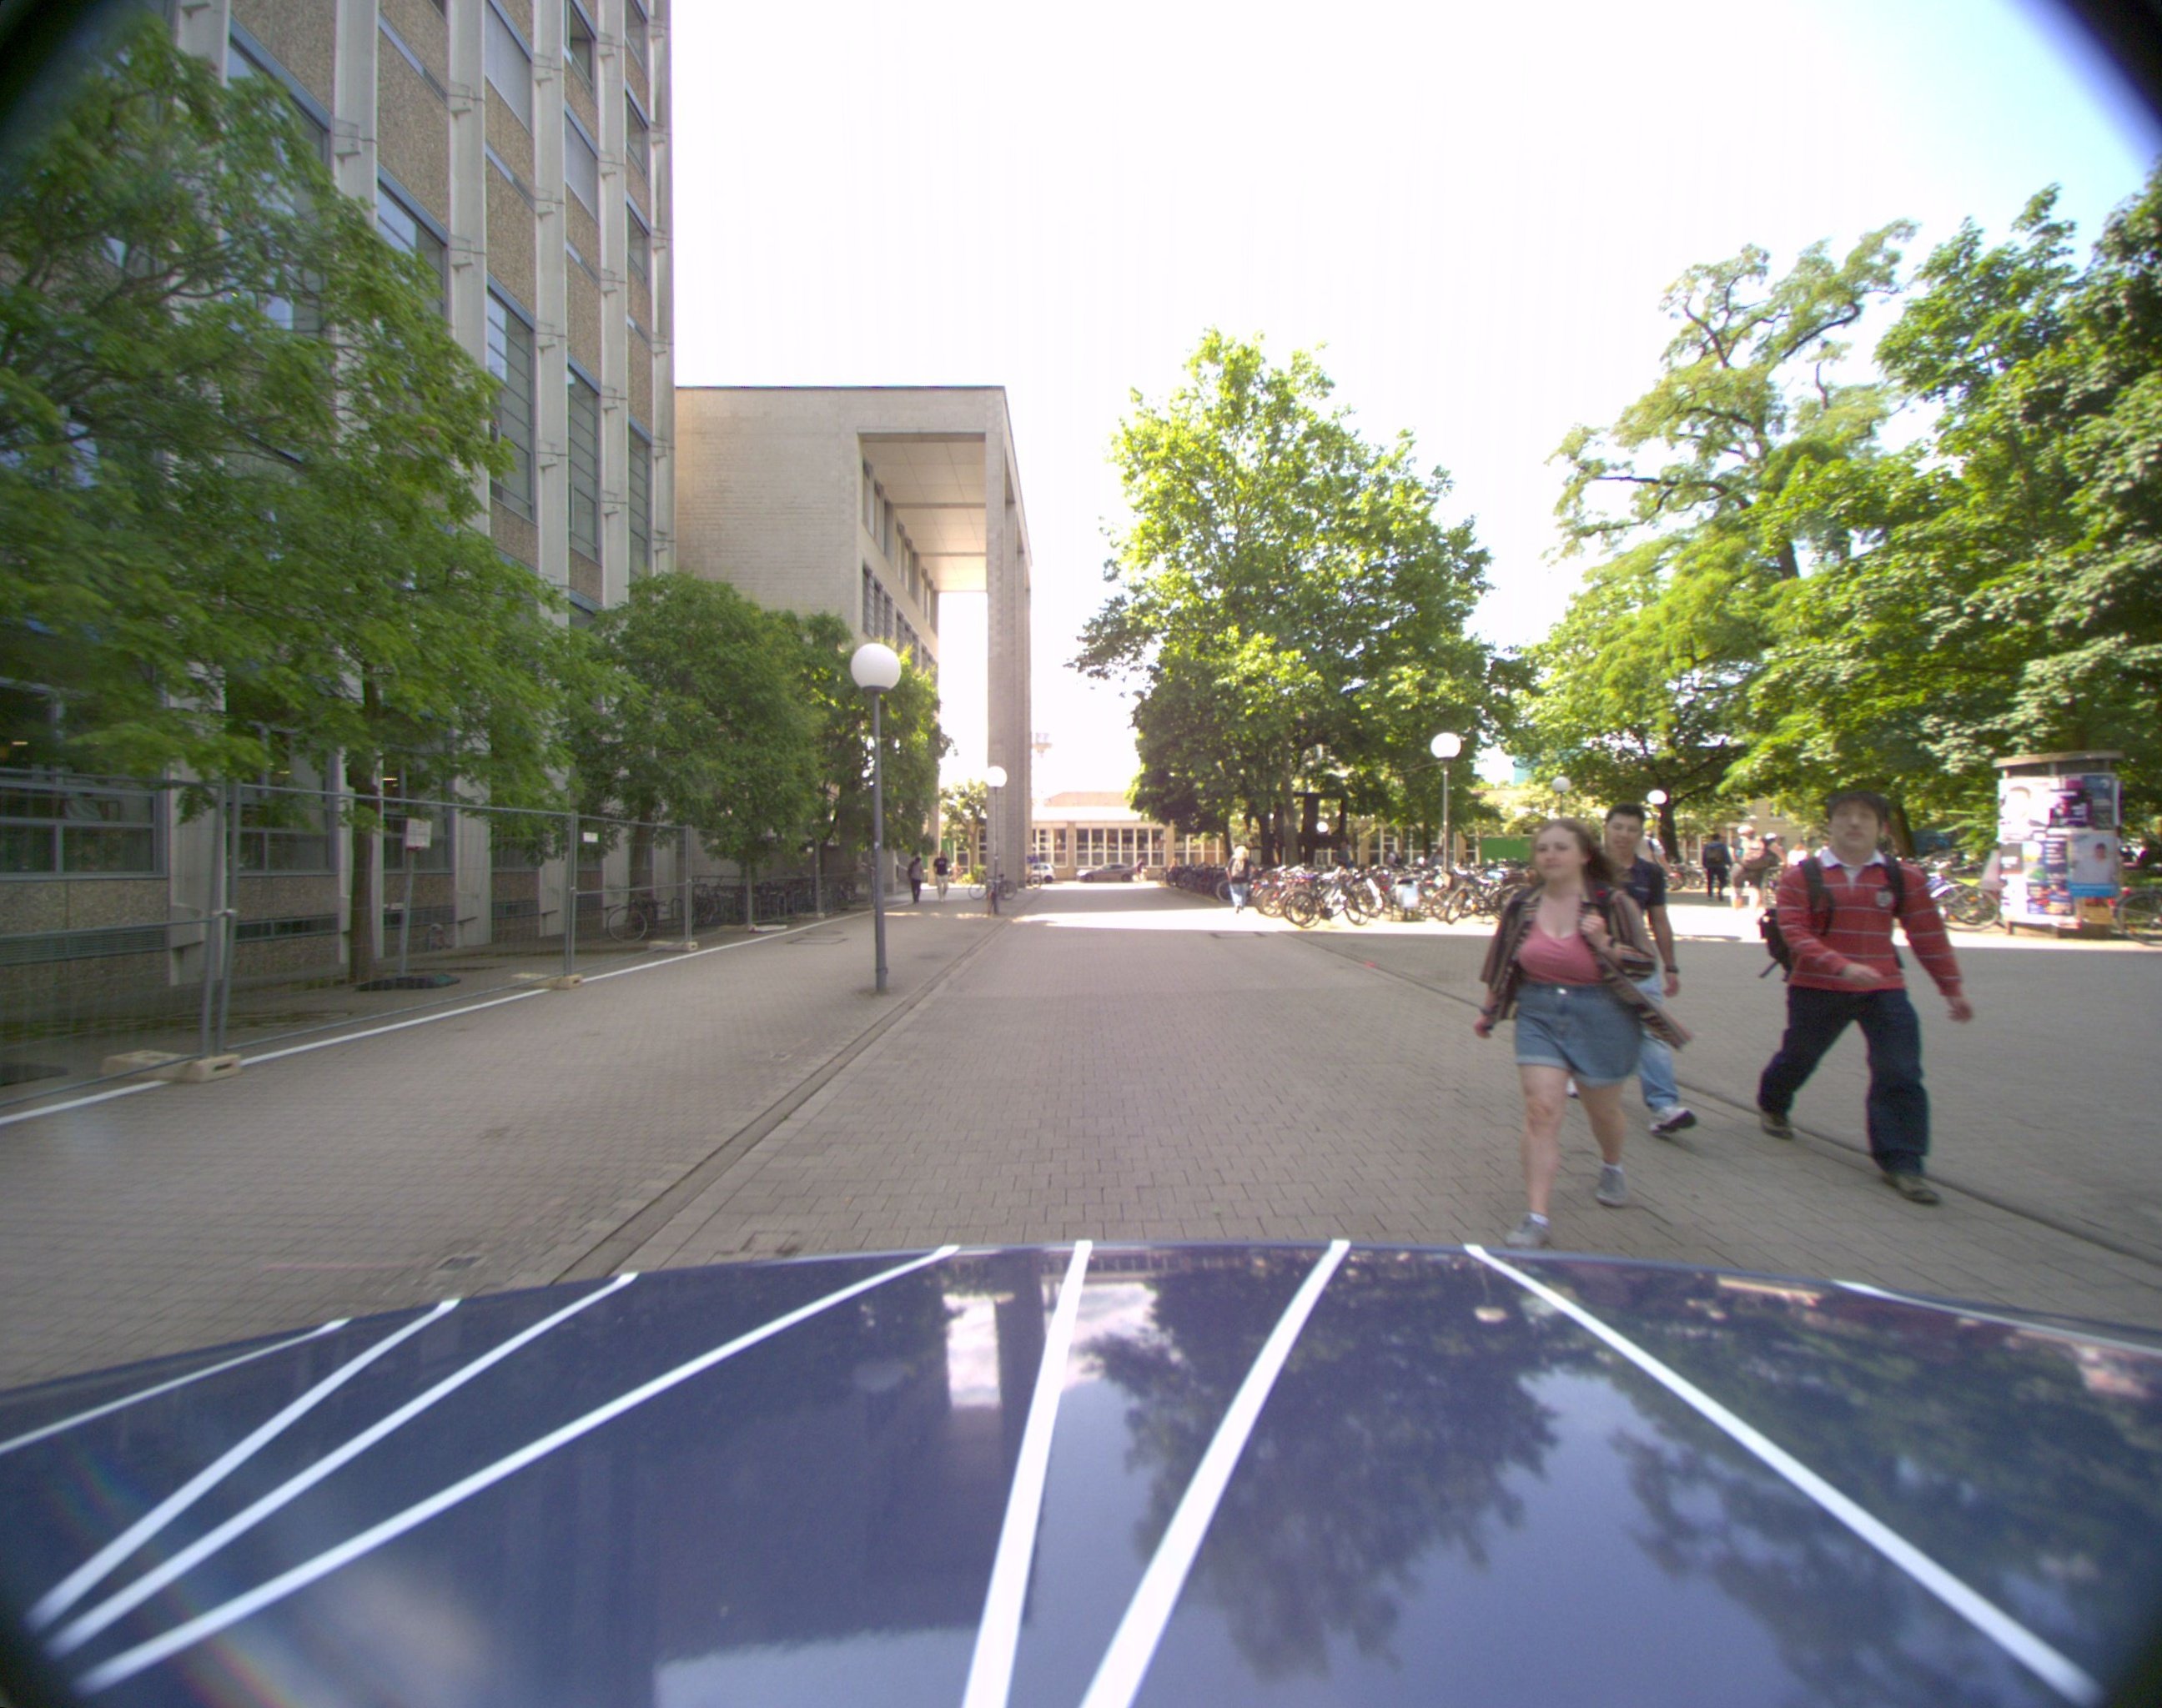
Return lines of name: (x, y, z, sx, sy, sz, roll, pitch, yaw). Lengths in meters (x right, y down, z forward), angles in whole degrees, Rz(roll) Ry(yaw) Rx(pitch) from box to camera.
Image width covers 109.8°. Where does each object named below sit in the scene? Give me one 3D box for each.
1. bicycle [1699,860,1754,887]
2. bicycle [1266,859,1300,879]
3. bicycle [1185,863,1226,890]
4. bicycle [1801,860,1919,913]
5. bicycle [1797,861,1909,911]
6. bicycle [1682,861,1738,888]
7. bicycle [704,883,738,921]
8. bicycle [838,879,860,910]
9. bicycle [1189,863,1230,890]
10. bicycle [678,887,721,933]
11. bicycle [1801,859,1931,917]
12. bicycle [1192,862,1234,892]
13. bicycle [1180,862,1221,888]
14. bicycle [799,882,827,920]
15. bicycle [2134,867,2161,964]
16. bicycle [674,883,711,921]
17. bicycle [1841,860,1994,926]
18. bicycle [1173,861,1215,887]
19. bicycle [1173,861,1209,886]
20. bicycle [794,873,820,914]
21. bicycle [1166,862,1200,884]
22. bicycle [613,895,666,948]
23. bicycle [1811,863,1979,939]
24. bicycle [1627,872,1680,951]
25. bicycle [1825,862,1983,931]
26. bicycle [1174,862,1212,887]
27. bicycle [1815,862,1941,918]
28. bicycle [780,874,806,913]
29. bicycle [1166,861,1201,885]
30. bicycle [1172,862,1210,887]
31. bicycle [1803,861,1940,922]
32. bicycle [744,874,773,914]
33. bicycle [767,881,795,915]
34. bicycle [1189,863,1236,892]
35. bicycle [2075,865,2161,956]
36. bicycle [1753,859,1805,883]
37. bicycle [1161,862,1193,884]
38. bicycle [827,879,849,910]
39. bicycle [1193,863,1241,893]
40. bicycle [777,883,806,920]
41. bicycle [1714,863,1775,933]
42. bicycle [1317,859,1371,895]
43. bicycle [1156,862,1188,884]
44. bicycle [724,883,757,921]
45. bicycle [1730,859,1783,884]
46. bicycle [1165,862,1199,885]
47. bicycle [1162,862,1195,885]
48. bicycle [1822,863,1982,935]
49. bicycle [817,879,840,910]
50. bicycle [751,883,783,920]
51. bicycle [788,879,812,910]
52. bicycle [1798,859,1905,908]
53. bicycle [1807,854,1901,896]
bicycle: (27.004, 0.799, 31.821, 0.475, 1.077, 1.696, -2, 1, -29)
bicycle: (11.559, 0.854, 43.565, 1.839, 1.101, 0.393, -1, 1, -6)
bicycle: (5.134, 0.934, 31.369, 1.627, 1.101, 0.497, -1, 1, 14)
bicycle: (17.125, 0.709, 16.758, 1.773, 1.104, 0.518, -1, 1, 39)
bicycle: (17.798, 0.725, 17.570, 1.773, 1.104, 0.518, -1, 1, 42)
bicycle: (25.874, 0.814, 31.272, 0.475, 1.077, 1.696, -2, 1, -29)
bicycle: (-9.380, 1.238, 19.835, 0.291, 0.900, 1.448, 0, 0, -3)
bicycle: (-7.162, 1.237, 23.492, 0.291, 0.900, 1.448, 0, 0, -3)
bicycle: (5.410, 0.930, 31.905, 1.627, 1.101, 0.563, -1, 1, 14)
bicycle: (-8.492, 1.227, 16.947, 0.291, 0.900, 1.804, 0, 0, -8)
bicycle: (15.763, 0.664, 15.313, 1.773, 1.104, 0.475, -1, 1, 39)
bicycle: (5.340, 0.931, 30.758, 1.627, 1.137, 0.497, -1, 1, 14)
bicycle: (5.261, 0.929, 33.410, 1.724, 1.101, 0.719, -1, 1, 11)
bicycle: (-7.059, 1.227, 20.062, 0.291, 0.900, 1.448, 0, 0, -3)
bicycle: (13.329, 0.696, 8.501, 1.773, 1.104, 0.475, -1, 1, 29)
bicycle: (-10.124, 1.246, 19.850, 0.291, 0.900, 1.448, 0, 0, -3)
bicycle: (14.821, 0.668, 13.530, 1.773, 1.104, 0.475, -1, 1, 39)
bicycle: (5.182, 0.907, 34.865, 1.785, 1.155, 0.497, -1, 1, -5)
bicycle: (5.237, 0.905, 36.269, 1.628, 1.144, 0.497, -1, 1, 0)
bicycle: (-7.965, 1.124, 22.140, 0.291, 1.121, 1.448, 0, 0, -3)
bicycle: (5.143, 0.953, 38.321, 1.628, 1.101, 0.506, -1, 1, 5)
bicycle: (-8.573, 1.289, 14.812, 0.291, 0.900, 1.618, 0, 0, -8)
bicycle: (12.711, 0.711, 11.940, 1.773, 1.104, 0.475, -1, 1, 44)
bicycle: (8.867, 0.853, 11.801, 0.602, 1.077, 1.703, -1, 1, 36)
bicycle: (14.003, 0.697, 12.998, 1.773, 1.104, 0.475, -1, 1, 39)
bicycle: (5.055, 0.930, 34.370, 1.629, 1.101, 0.497, -1, 1, -5)
bicycle: (16.708, 0.741, 15.984, 1.773, 1.104, 0.518, -1, 1, 39)
bicycle: (-8.357, 1.128, 22.089, 0.291, 1.088, 1.448, 0, 0, -3)
bicycle: (4.985, 0.921, 37.053, 1.628, 1.101, 0.691, -1, 1, 5)
bicycle: (5.135, 0.946, 35.501, 1.629, 1.101, 0.645, -1, 1, -5)
bicycle: (15.051, 0.692, 14.532, 1.773, 1.104, 0.475, -1, 1, 39)
bicycle: (-9.353, 1.147, 22.078, 0.291, 1.092, 1.448, 0, 0, -3)
bicycle: (-8.706, 1.263, 22.081, 0.291, 0.882, 1.448, 0, 0, -3)
bicycle: (5.199, 0.933, 30.105, 1.737, 1.101, 0.575, -1, 1, 19)
bicycle: (13.679, 0.687, 9.315, 1.773, 1.104, 0.475, -1, 1, 29)
bicycle: (31.804, 0.758, 34.653, 0.475, 1.077, 1.696, -2, 1, -29)
bicycle: (4.968, 0.997, 39.455, 1.628, 1.101, 0.497, -1, 1, 5)
bicycle: (-7.501, 1.234, 23.501, 0.291, 0.900, 1.448, 0, 0, -3)
bicycle: (5.232, 0.925, 29.232, 1.739, 1.101, 0.497, -1, 1, 0)
bicycle: (-7.596, 1.225, 19.968, 0.291, 0.900, 1.448, 0, 0, -3)
bicycle: (11.627, 0.741, 13.357, 0.473, 1.104, 1.848, -1, 1, 31)
bicycle: (9.012, 0.784, 26.068, 0.577, 1.193, 1.695, -2, 1, -39)
bicycle: (4.768, 1.014, 40.026, 1.628, 1.101, 0.497, -1, 1, 5)
bicycle: (-8.873, 1.234, 19.833, 0.291, 0.900, 1.448, 0, 0, -3)
bicycle: (29.908, 0.757, 33.676, 0.475, 1.077, 1.696, -2, 1, -29)
bicycle: (5.027, 0.973, 37.774, 1.628, 1.101, 0.497, -1, 1, 5)
bicycle: (4.969, 0.992, 38.892, 1.628, 1.101, 0.629, -1, 1, 4)
bicycle: (13.577, 0.716, 12.637, 1.773, 1.104, 0.475, -1, 1, 44)
bicycle: (-7.852, 1.235, 23.637, 0.291, 0.900, 1.448, 0, 0, -3)
bicycle: (-8.197, 1.228, 19.877, 0.291, 0.900, 1.448, 0, 0, -3)
bicycle: (-8.723, 1.250, 23.644, 0.291, 0.900, 1.448, 0, 0, -3)
bicycle: (18.419, 0.687, 18.224, 1.773, 1.104, 0.518, -1, 1, 42)
bicycle: (21.208, 0.559, 20.895, 1.773, 1.104, 0.518, -1, 1, 42)
